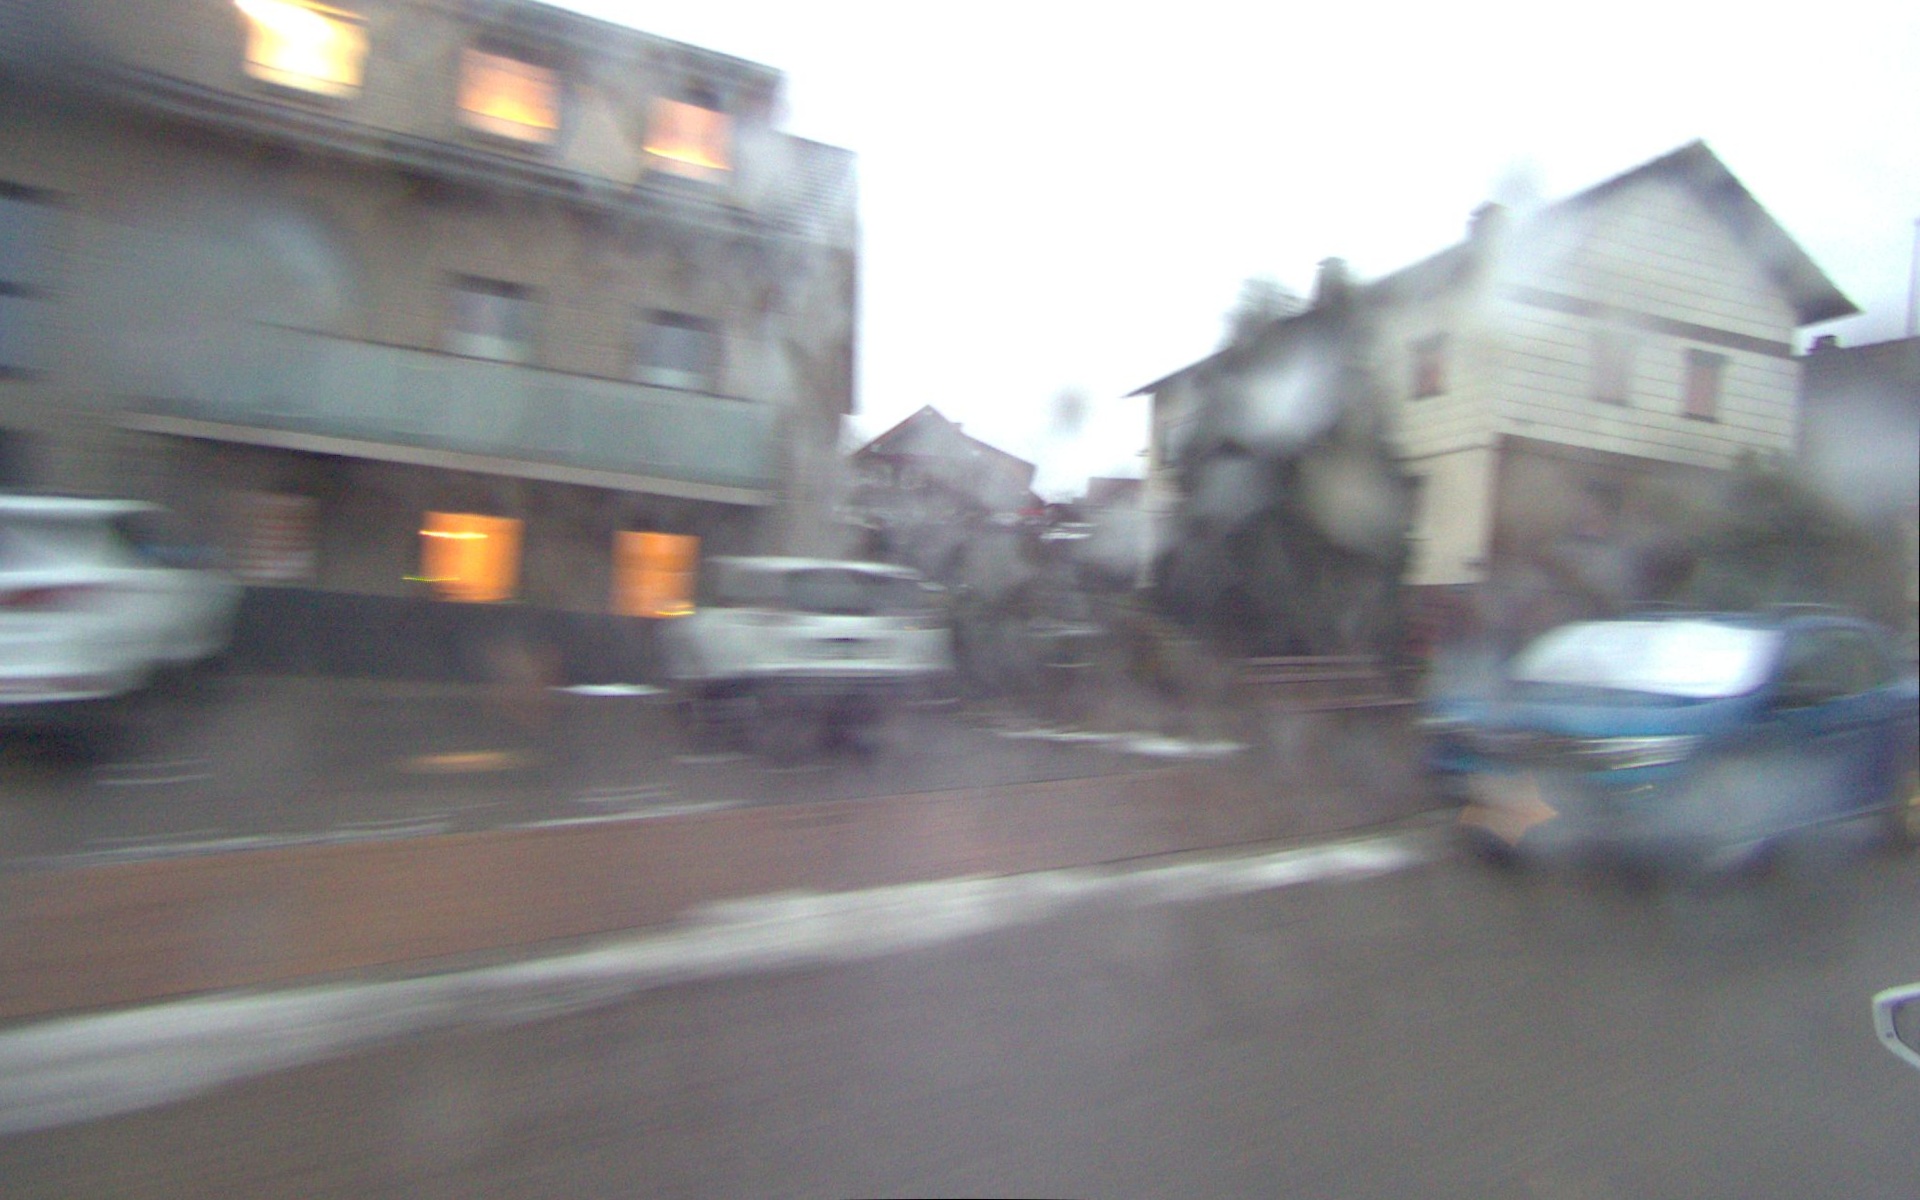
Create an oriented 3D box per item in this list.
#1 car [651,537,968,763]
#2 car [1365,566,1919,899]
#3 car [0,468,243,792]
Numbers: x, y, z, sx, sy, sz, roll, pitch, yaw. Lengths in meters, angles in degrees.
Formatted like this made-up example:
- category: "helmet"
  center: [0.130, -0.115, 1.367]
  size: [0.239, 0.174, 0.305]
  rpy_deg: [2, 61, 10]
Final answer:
- category: "car"
  center: [-1.641, 0.338, 9.475]
  size: [1.863, 1.639, 3.974]
  rpy_deg: [2, 1, -25]
- category: "car"
  center: [4.752, 0.711, 6.611]
  size: [4.126, 1.605, 1.676]
  rpy_deg: [2, -1, -30]
- category: "car"
  center: [-6.603, 0.019, 6.999]
  size: [1.975, 1.770, 3.971]
  rpy_deg: [3, 2, -27]
